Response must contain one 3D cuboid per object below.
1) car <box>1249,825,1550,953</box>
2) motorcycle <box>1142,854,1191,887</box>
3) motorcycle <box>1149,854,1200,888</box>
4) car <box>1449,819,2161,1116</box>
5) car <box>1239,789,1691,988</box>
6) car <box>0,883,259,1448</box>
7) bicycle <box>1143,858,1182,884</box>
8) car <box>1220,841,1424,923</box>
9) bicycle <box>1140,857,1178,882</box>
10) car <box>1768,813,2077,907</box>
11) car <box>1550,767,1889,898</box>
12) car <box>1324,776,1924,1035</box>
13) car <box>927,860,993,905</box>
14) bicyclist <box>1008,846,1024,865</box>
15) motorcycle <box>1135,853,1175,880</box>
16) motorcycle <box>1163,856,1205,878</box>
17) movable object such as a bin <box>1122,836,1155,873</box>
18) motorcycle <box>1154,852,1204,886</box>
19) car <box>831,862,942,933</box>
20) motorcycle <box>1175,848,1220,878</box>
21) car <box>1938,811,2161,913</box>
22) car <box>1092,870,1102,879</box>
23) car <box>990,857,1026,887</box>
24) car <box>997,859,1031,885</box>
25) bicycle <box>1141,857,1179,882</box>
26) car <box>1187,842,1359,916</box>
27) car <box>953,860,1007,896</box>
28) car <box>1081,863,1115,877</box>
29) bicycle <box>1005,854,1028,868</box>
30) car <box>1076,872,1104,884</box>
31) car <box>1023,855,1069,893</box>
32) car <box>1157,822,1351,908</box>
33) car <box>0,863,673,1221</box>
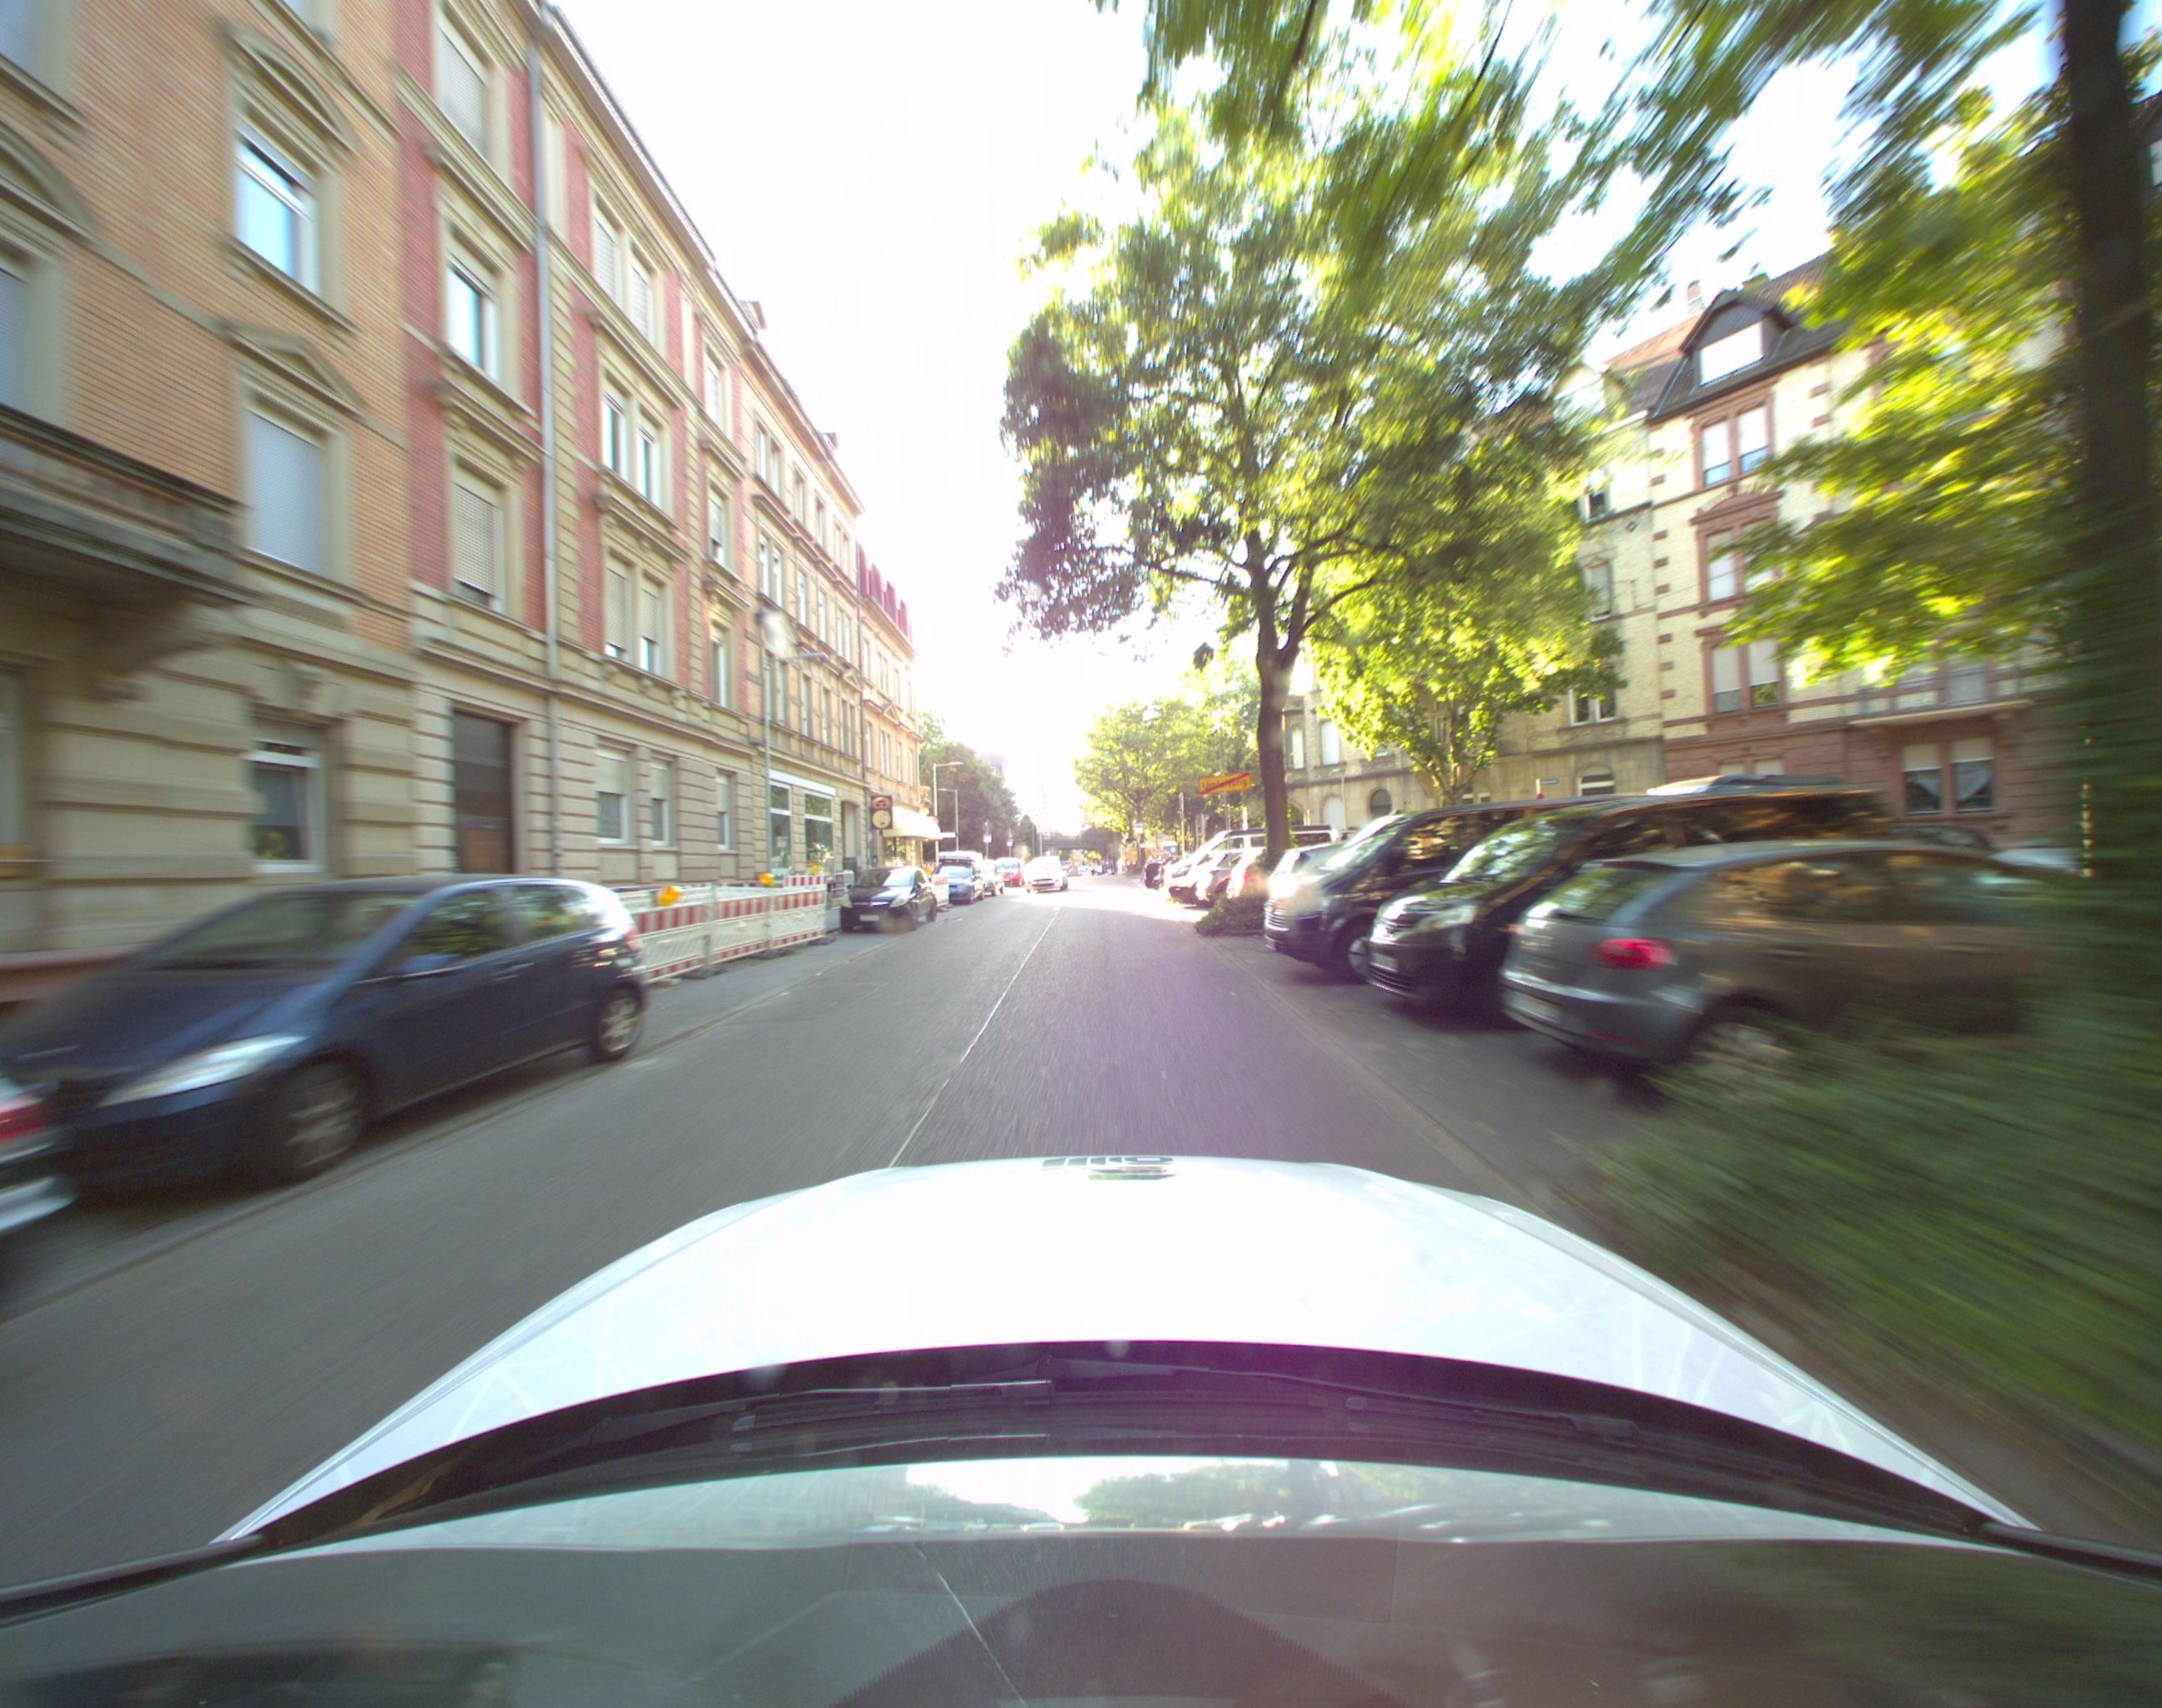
[{"bbox_3d":[4.842,0.503,12.777,3.975,1.692,1.799,-2,0,-1],"label":"car"},{"bbox_3d":[3.806,0.736,36.259,2.017,1.285,0.903,-4,0,-1],"label":"motorcycle"},{"bbox_3d":[3.942,0.704,34.350,2.010,1.327,0.620,-2,0,-3],"label":"motorcycle"},{"bbox_3d":[4.734,0.594,5.145,3.968,1.448,1.893,-2,0,5],"label":"car"},{"bbox_3d":[4.479,0.372,10.050,4.602,2.013,1.999,-2,0,-2],"label":"car"},{"bbox_3d":[-4.971,0.962,1.903,3.981,1.529,1.823,-3,0,-5],"label":"car"},{"bbox_3d":[4.095,0.843,41.071,1.921,1.246,0.302,-2,0,-5],"label":"bicycle"},{"bbox_3d":[5.076,0.577,17.567,3.827,1.515,1.848,-2,0,0],"label":"car"},{"bbox_3d":[4.151,0.839,43.410,1.921,1.246,0.302,-2,0,-5],"label":"bicycle"},{"bbox_3d":[15.950,0.096,15.563,4.289,1.504,1.910,-2,0,-8],"label":"car"},{"bbox_3d":[14.033,-0.471,18.131,5.885,2.537,2.376,-2,0,-5],"label":"car"},{"bbox_3d":[4.695,0.396,7.516,4.258,1.885,1.937,-2,0,-3],"label":"car"},{"bbox_3d":[-4.371,0.995,30.038,1.759,1.437,4.299,-2,0,0],"label":"car"},{"bbox_3d":[-4.850,0.129,61.109,0.809,1.383,0.975,-1,-1,-35],"label":"bicyclist"},{"bbox_3d":[4.086,0.695,44.909,1.913,1.412,0.947,-2,-1,29],"label":"motorcycle"},{"bbox_3d":[5.943,0.741,47.075,2.266,1.180,0.974,-2,-1,13],"label":"motorcycle"},{"bbox_3d":[4.479,0.052,63.159,1.979,2.699,3.122,-2,-1,14],"label":"movable object such as a bin"},{"bbox_3d":[4.219,0.642,35.278,2.016,1.362,0.694,-3,0,1],"label":"motorcycle"},{"bbox_3d":[-4.610,0.974,19.864,1.698,1.454,4.019,-2,0,0],"label":"car"},{"bbox_3d":[6.331,0.508,44.262,2.279,1.531,0.754,-2,-1,-6],"label":"motorcycle"},{"bbox_3d":[17.029,0.077,13.392,4.046,1.510,1.861,-2,0,-3],"label":"car"},{"bbox_3d":[2.996,3.834,151.254,1.769,1.609,4.402,-3,0,1],"label":"car"},{"bbox_3d":[-4.037,0.968,45.589,1.665,1.530,3.998,-2,0,-1],"label":"car"},{"bbox_3d":[-4.065,1.064,50.041,1.663,1.458,4.000,-2,0,1],"label":"car"},{"bbox_3d":[4.173,0.837,43.085,1.921,1.246,0.302,-2,0,-5],"label":"bicycle"},{"bbox_3d":[4.665,0.585,20.148,3.827,1.595,1.741,-2,0,0],"label":"car"},{"bbox_3d":[-4.314,0.998,35.256,1.719,1.437,3.997,0,0,2],"label":"car"},{"bbox_3d":[2.208,2.047,106.408,4.375,1.702,1.915,-1,-4,-2],"label":"car"},{"bbox_3d":[-4.855,0.527,61.109,0.809,0.968,2.086,-1,0,-35],"label":"bicycle"},{"bbox_3d":[1.454,3.900,130.392,4.375,1.785,1.915,-1,-4,-2],"label":"car"},{"bbox_3d":[-1.526,0.849,36.509,1.743,1.509,4.001,-2,0,1],"label":"car"},{"bbox_3d":[4.721,0.285,22.801,4.956,2.096,2.106,-2,0,0],"label":"car"},{"bbox_3d":[-4.794,0.910,5.727,1.735,1.567,3.896,-2,0,2],"label":"car"}]
